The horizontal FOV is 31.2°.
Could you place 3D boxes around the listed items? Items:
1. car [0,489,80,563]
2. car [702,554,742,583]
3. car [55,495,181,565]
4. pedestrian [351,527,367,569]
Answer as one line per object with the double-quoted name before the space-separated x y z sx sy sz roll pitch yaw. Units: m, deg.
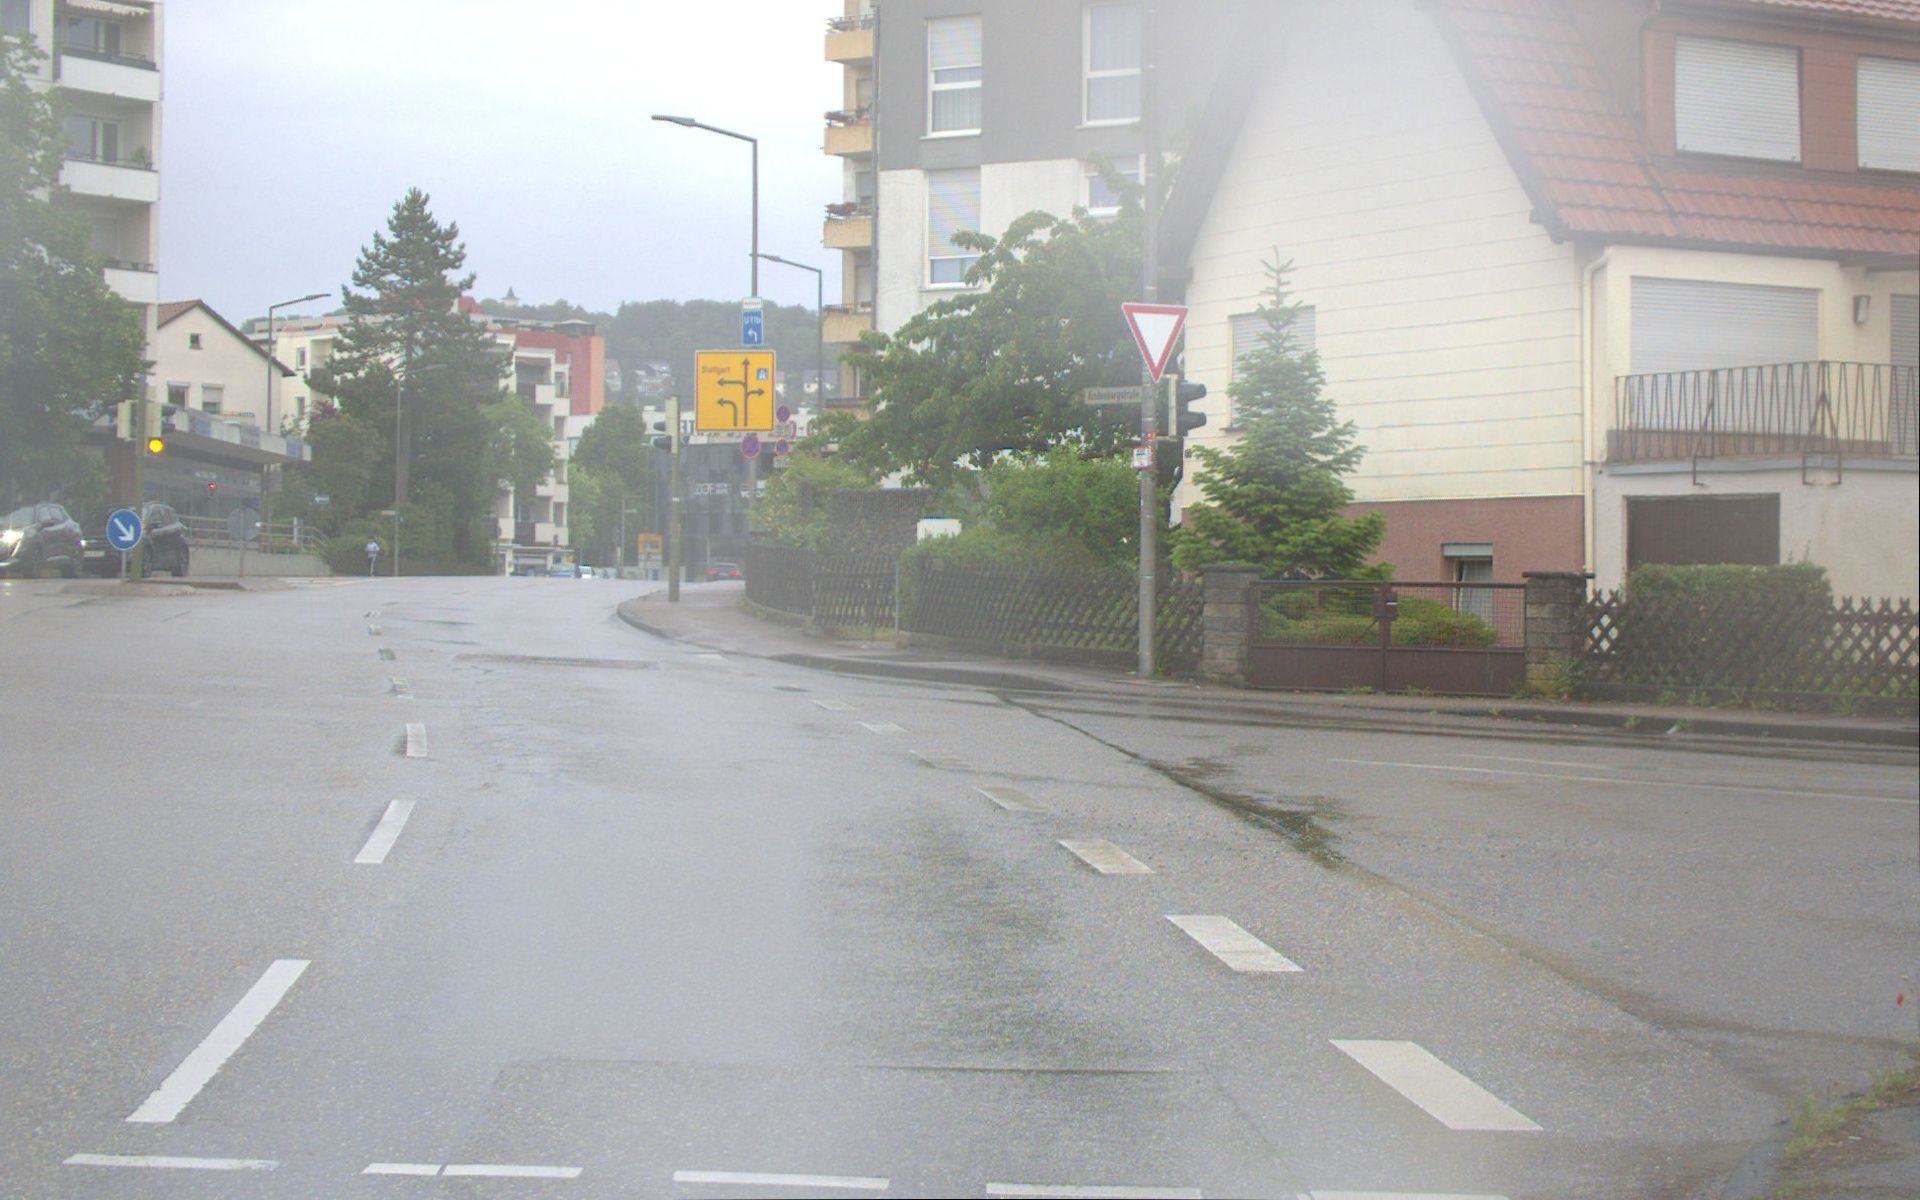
"car" -18.297 -1.447 66.143 1.715 1.382 4.021 1 2 -1
"car" -12.617 -1.668 182.400 1.813 1.481 4.189 0 1 0
"car" -17.910 -1.498 73.271 1.778 1.415 3.831 1 2 -1
"pedestrian" -23.932 -2.072 136.956 0.497 1.652 0.434 1 1 5
